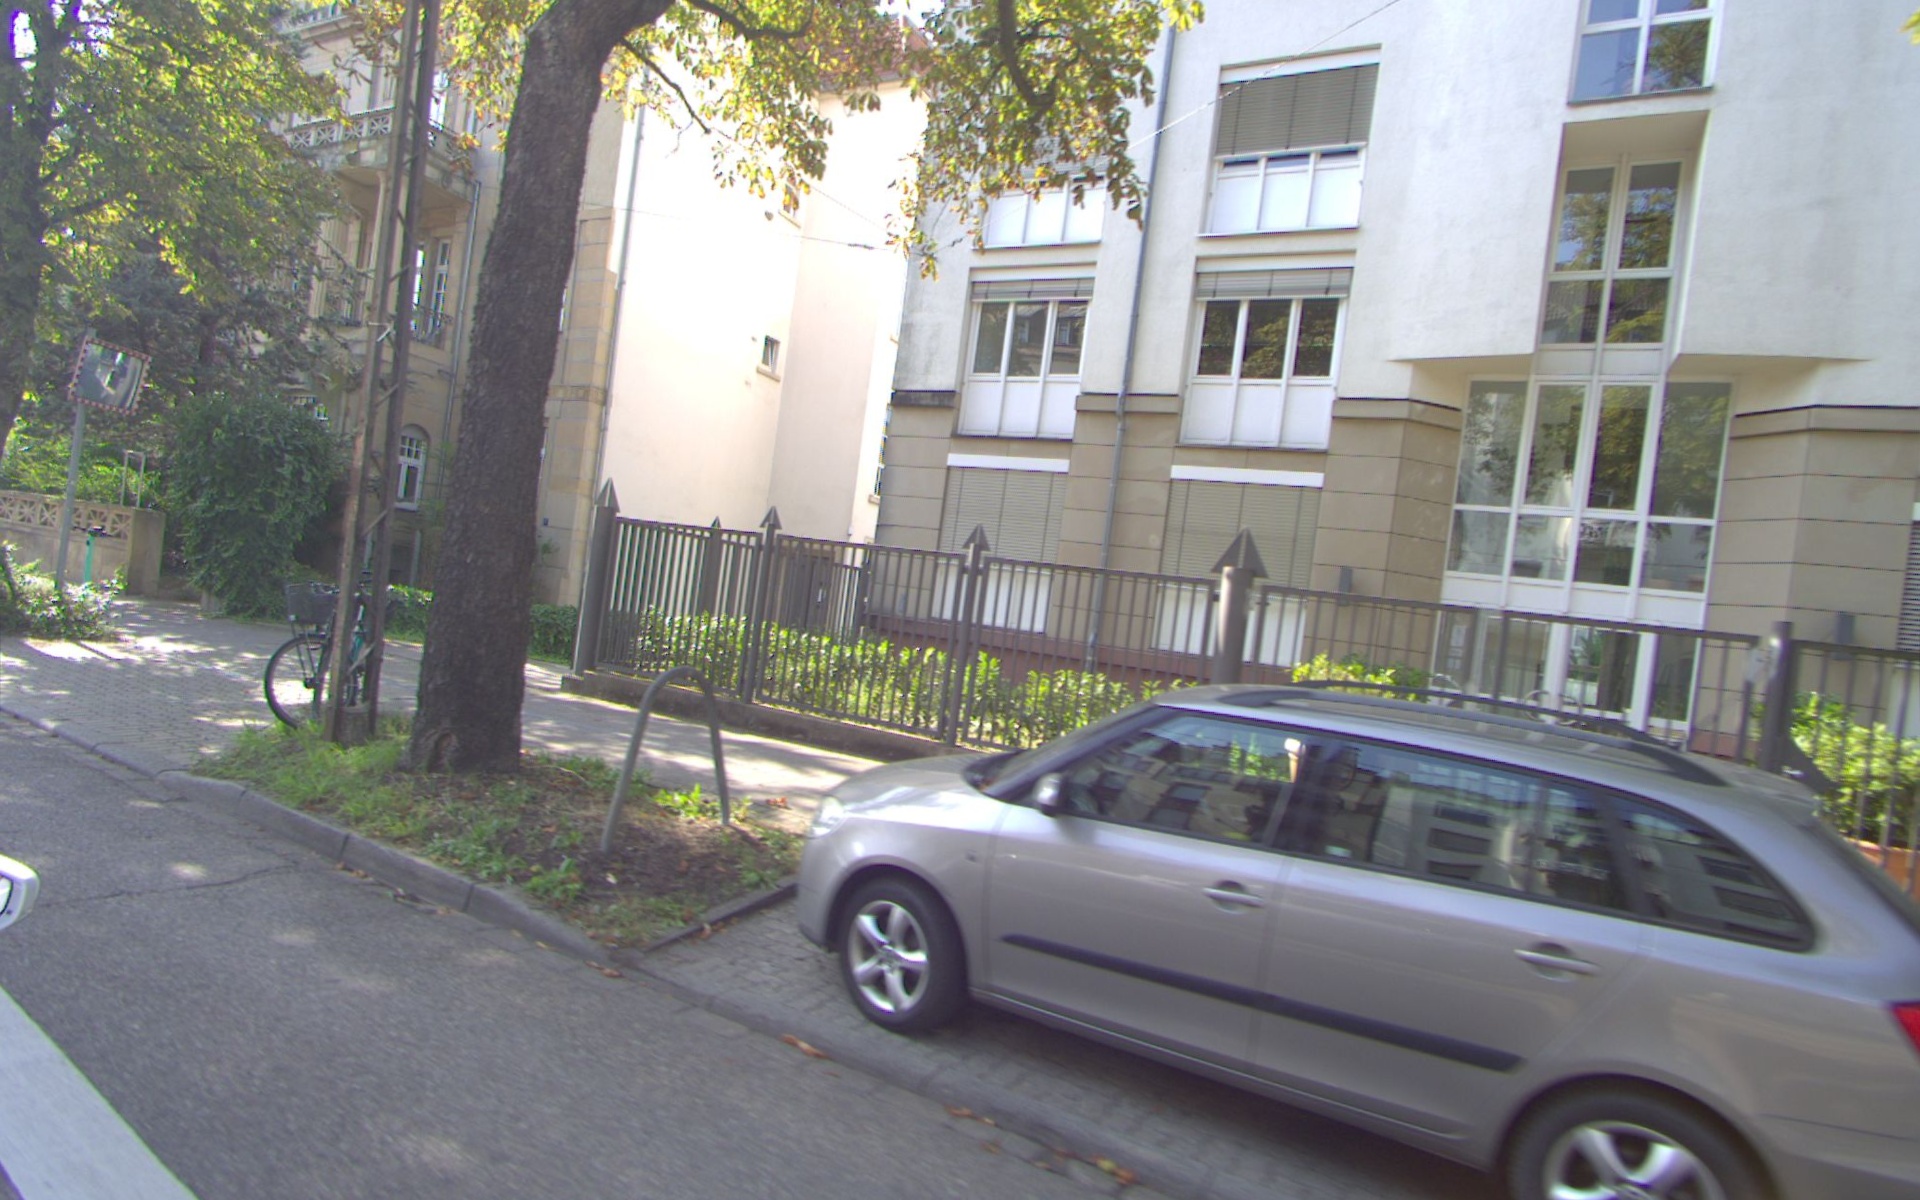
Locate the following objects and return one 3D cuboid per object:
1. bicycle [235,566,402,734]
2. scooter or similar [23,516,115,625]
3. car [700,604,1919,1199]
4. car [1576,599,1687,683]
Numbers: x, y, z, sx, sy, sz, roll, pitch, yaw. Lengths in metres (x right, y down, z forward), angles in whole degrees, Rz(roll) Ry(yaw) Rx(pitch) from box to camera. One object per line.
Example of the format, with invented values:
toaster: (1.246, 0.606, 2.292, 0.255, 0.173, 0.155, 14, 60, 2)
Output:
bicycle: (-5.086, 0.333, 8.096, 0.496, 1.182, 1.837, 2, 2, -11)
scooter or similar: (-10.846, -0.360, 12.245, 1.017, 1.213, 0.557, 7, 3, 34)
car: (1.220, 1.036, 3.928, 4.282, 1.544, 1.608, 7, 2, 28)
car: (26.548, 1.639, 39.717, 4.941, 2.687, 1.979, 8, -1, -38)
